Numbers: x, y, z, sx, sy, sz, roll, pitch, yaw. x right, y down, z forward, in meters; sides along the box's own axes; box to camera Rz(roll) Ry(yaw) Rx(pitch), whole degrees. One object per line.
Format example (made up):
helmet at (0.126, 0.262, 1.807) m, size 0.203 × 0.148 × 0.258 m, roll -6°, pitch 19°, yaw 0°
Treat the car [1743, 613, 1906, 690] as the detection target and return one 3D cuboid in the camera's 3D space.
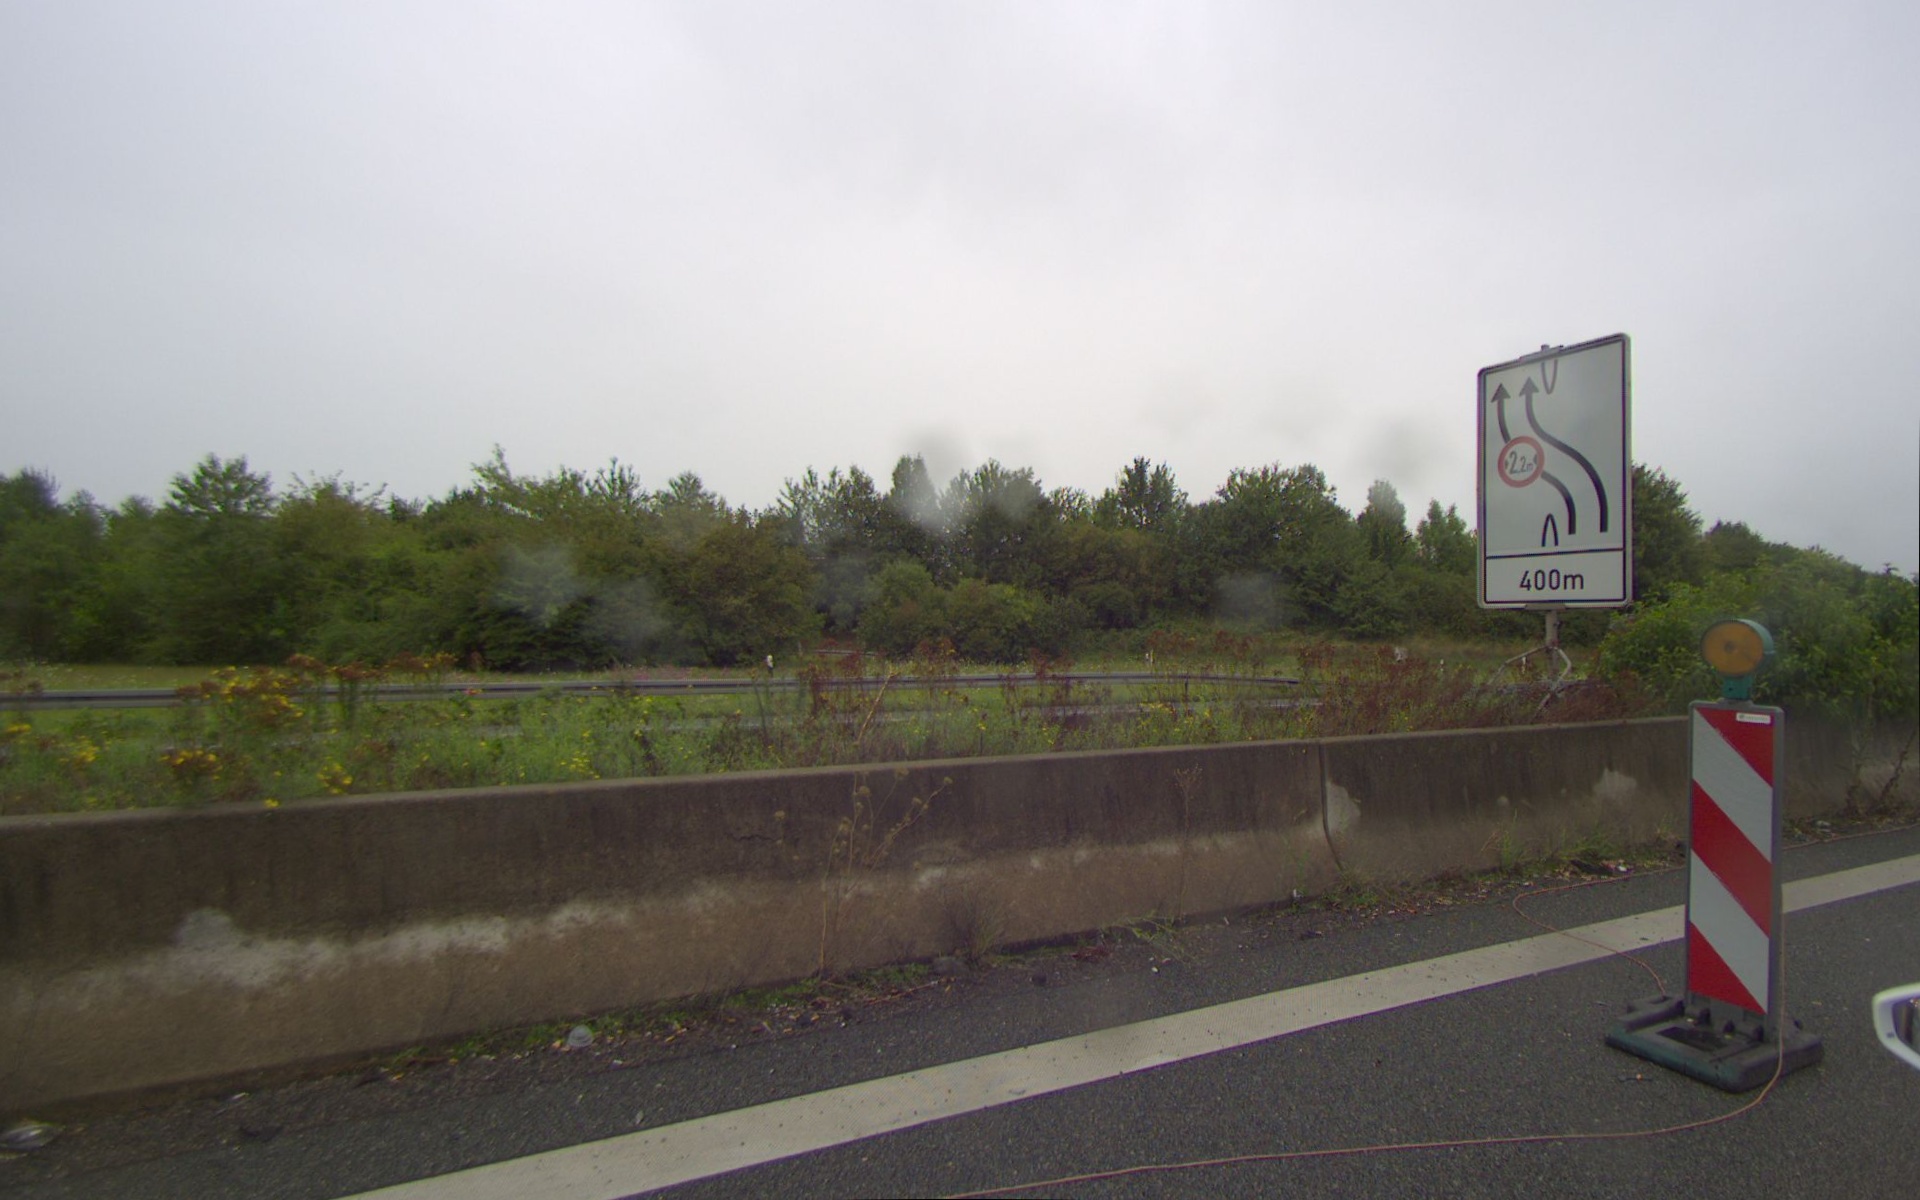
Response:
car at (29.652, 1.706, 34.435) m, size 5.808 × 2.473 × 2.232 m, roll 1°, pitch -2°, yaw -28°
